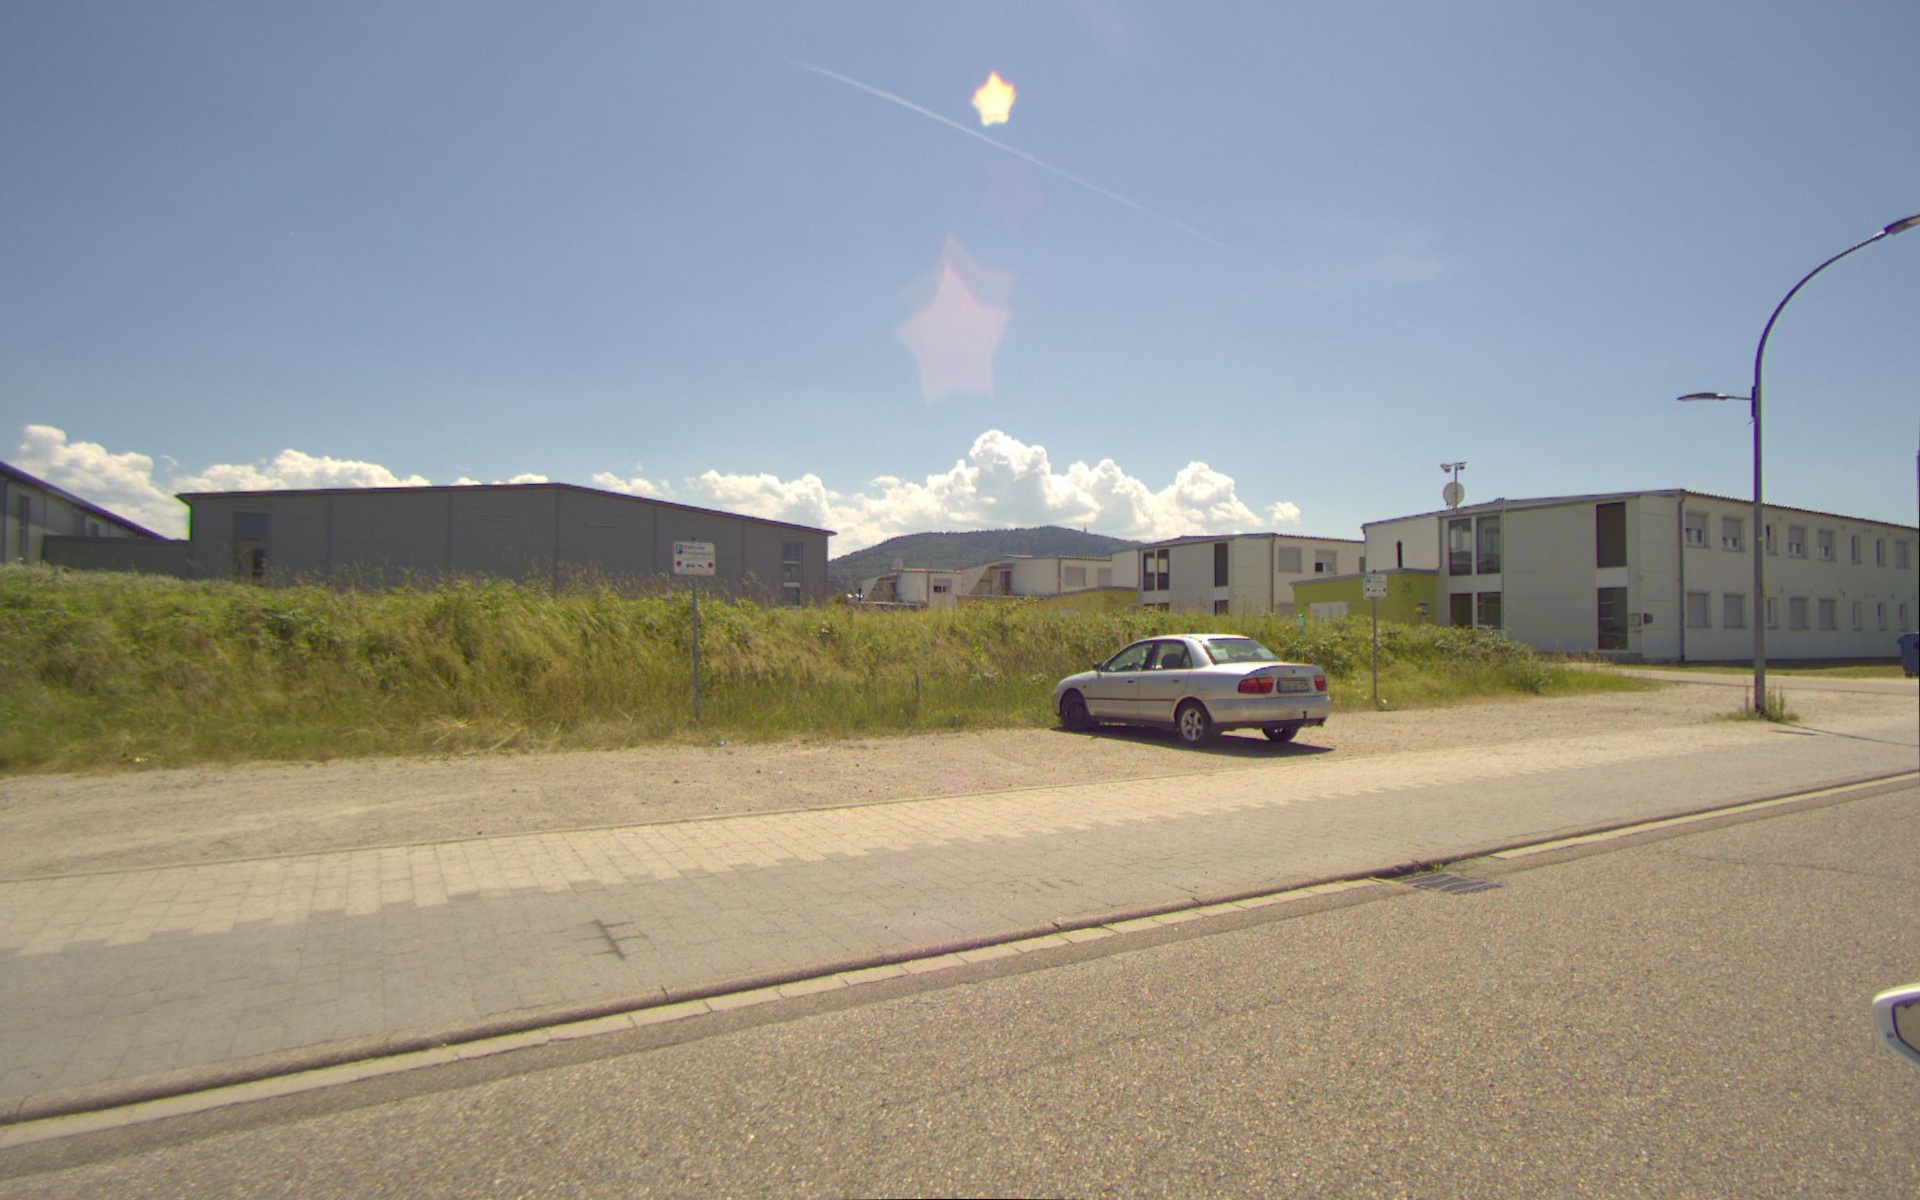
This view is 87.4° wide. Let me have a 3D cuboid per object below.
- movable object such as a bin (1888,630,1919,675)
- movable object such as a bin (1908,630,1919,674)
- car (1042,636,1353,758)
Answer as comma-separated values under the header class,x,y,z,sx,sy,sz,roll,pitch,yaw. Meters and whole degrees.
class,x,y,z,sx,sy,sz,roll,pitch,yaw
movable object such as a bin,31.681,1.737,33.147,1.416,1.467,1.139,1,-2,-28
movable object such as a bin,33.032,1.757,33.920,1.354,1.467,1.120,1,-2,-28
car,3.055,1.210,13.841,1.839,1.397,4.229,1,-3,-29
